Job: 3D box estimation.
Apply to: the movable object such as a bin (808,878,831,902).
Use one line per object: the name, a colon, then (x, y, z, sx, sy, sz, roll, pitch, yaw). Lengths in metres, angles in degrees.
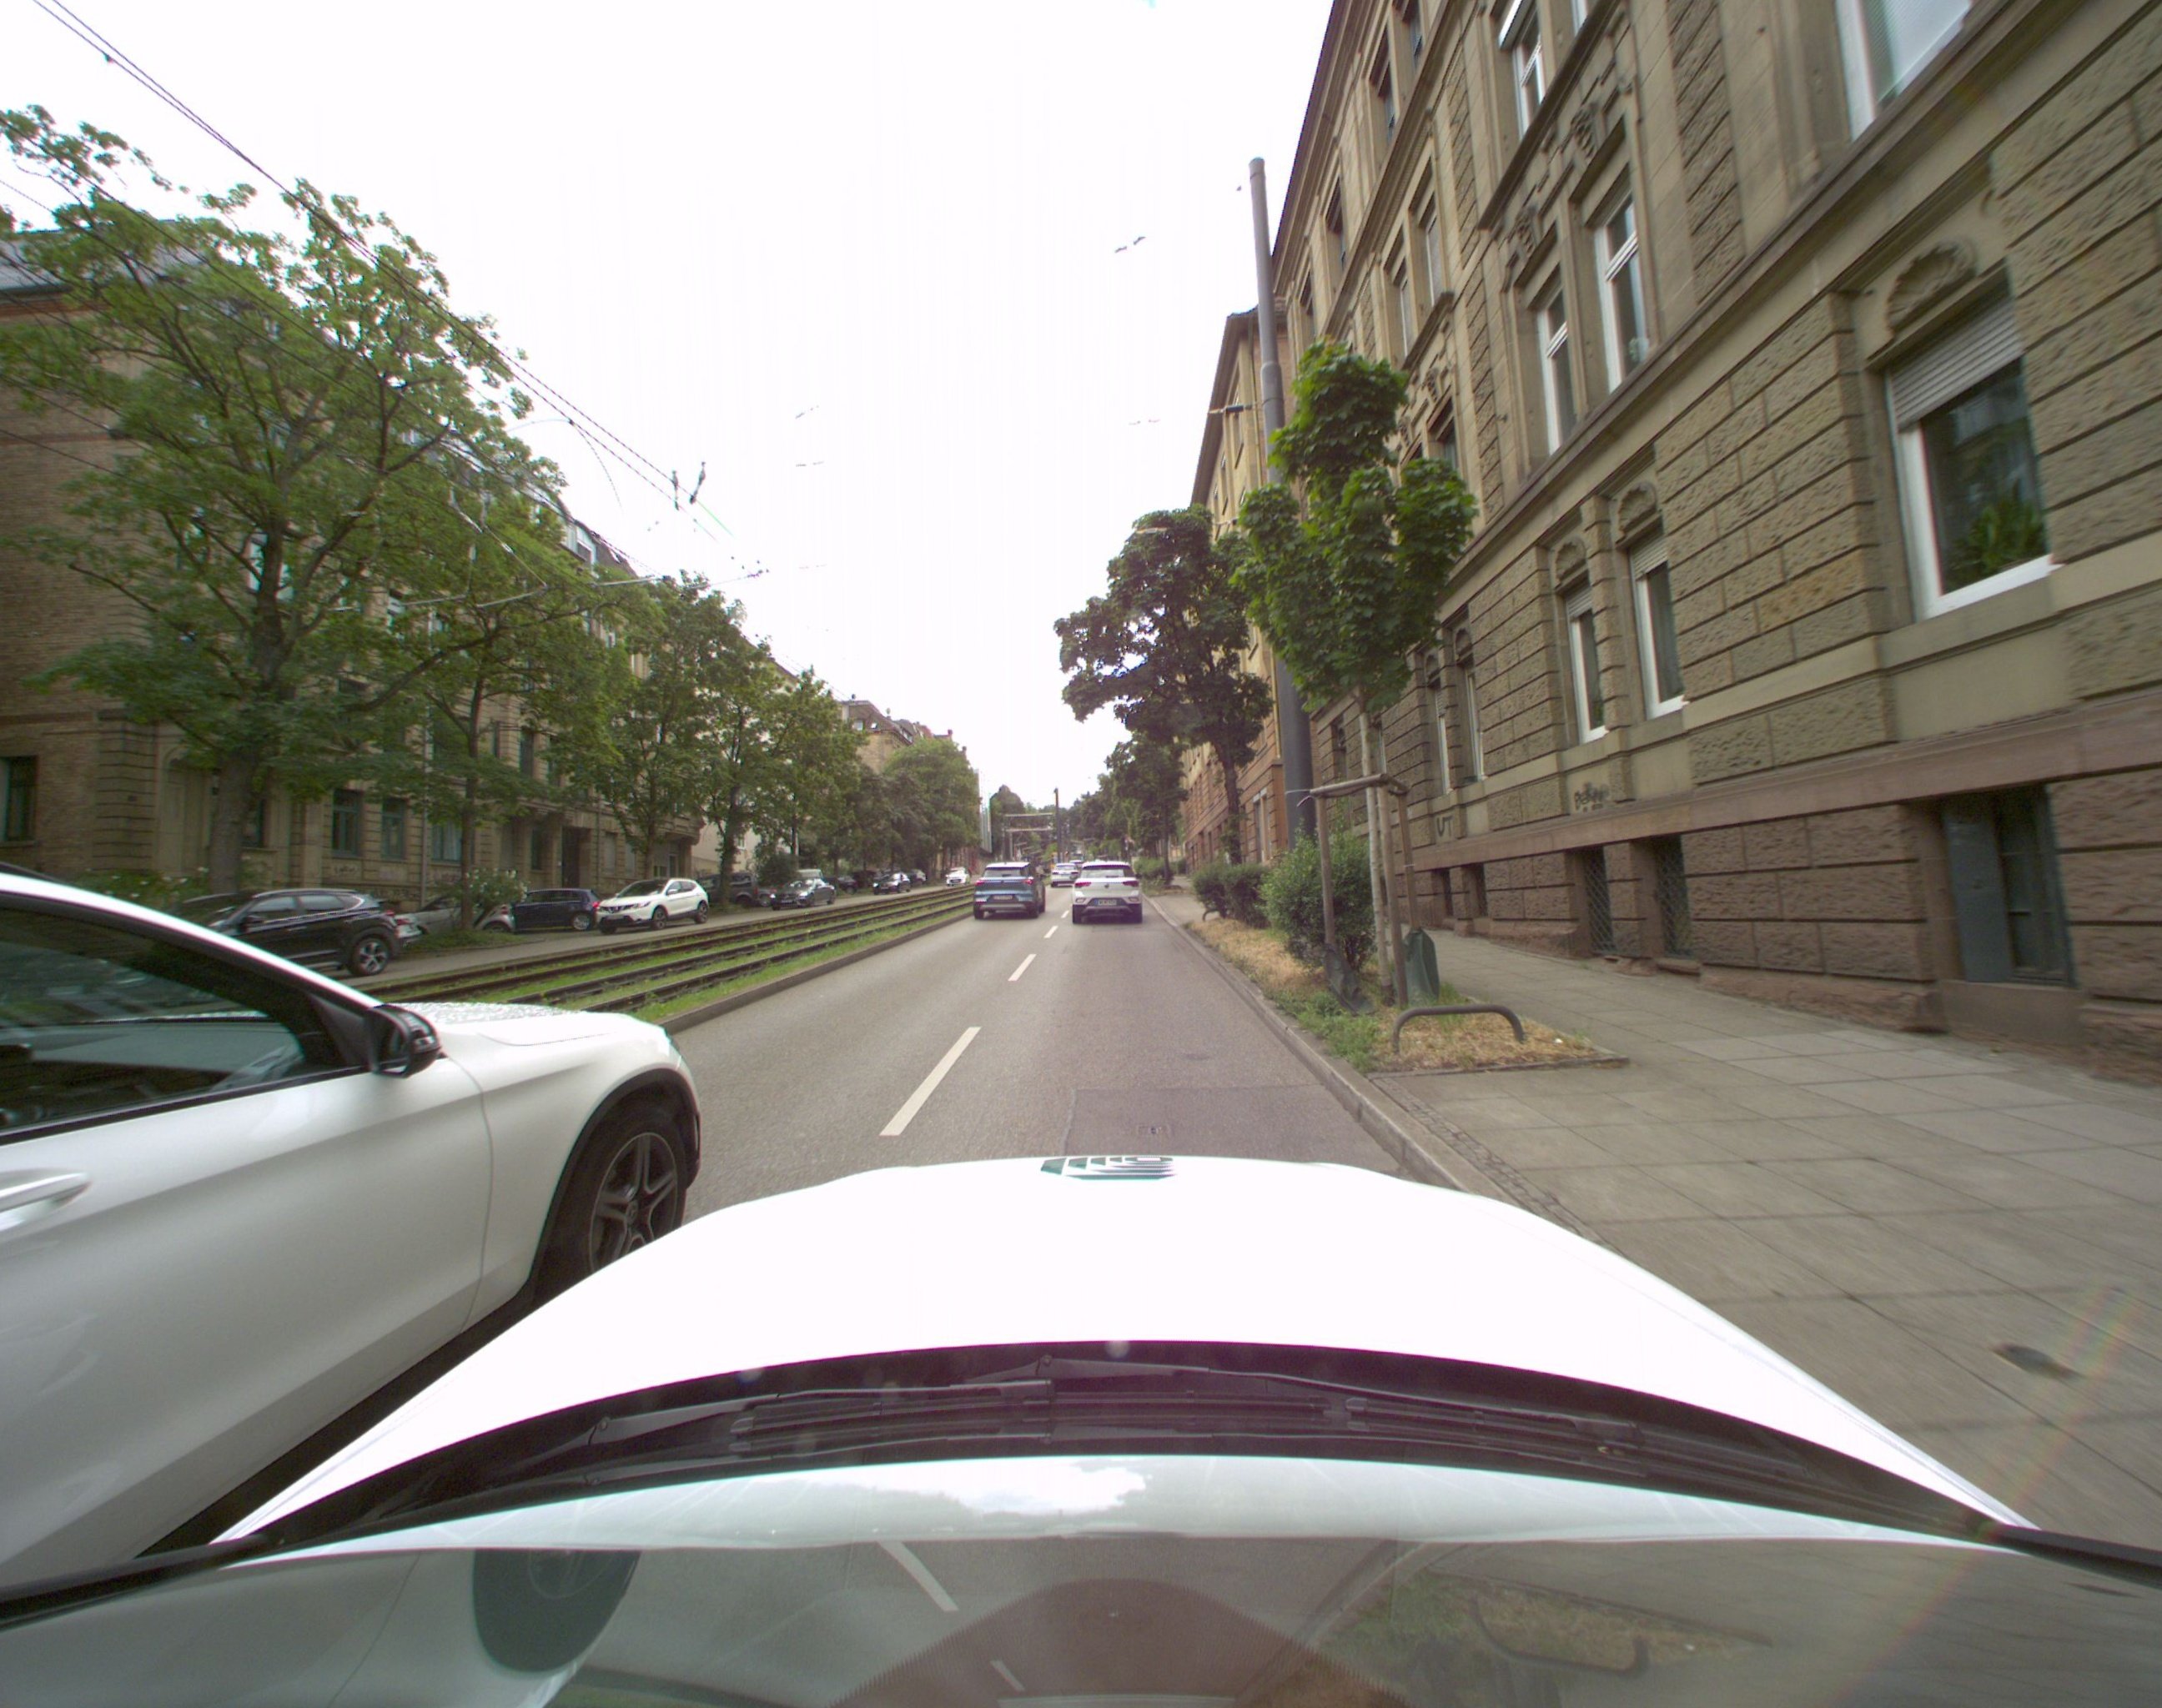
movable object such as a bin: (-16.041, 2.189, 49.975, 1.276, 1.401, 1.091, -1, -2, -14)

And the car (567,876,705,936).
car: (-13.938, 1.582, 25.828, 1.774, 1.616, 4.347, -4, -2, 2)

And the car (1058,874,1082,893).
car: (-0.893, 2.560, 70.831, 1.828, 1.547, 4.195, -1, -2, 2)

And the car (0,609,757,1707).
car: (-2.364, 0.522, 1.209, 1.829, 1.667, 4.670, -1, -2, 1)

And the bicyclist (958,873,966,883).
bicyclist: (-17.747, 3.613, 121.458, 0.935, 1.425, 1.188, -3, -2, 1)

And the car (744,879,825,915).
car: (-17.148, 2.473, 47.044, 4.199, 1.836, 1.856, -2, -2, -26)

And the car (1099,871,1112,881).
car: (4.005, 3.631, 134.024, 2.060, 1.547, 4.195, -1, -2, 2)

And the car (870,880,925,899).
car: (-16.827, 3.246, 74.782, 4.624, 1.617, 1.916, 0, -2, -33)

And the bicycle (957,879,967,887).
bicycle: (-17.694, 4.332, 121.391, 0.935, 1.100, 2.703, -3, -2, 2)

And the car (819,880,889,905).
car: (-16.714, 2.805, 59.949, 4.623, 1.682, 1.917, 0, -2, -32)

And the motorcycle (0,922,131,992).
motorcycle: (-17.621, 1.726, 13.580, 2.214, 1.059, 0.619, 0, -3, -33)

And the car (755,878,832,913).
car: (-13.330, 1.885, 38.076, 1.718, 1.410, 4.599, -4, -2, 2)

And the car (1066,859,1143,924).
car: (0.597, 0.964, 21.809, 1.829, 1.547, 4.193, -1, -2, 1)

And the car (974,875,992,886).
car: (-14.601, 3.949, 121.129, 1.985, 1.403, 4.002, -3, -2, 3)

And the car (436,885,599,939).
car: (-18.206, 1.845, 26.579, 4.205, 1.435, 1.853, -2, -2, -31)

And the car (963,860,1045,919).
car: (-2.164, 1.024, 23.916, 1.828, 1.547, 4.195, -1, -2, 2)

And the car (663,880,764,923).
car: (-17.385, 2.226, 38.515, 4.202, 1.768, 1.854, -2, -2, -29)

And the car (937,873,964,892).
car: (-10.924, 2.368, 68.573, 1.582, 1.435, 3.412, -4, -2, 1)

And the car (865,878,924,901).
car: (-15.942, 3.030, 69.735, 1.912, 1.797, 4.634, -3, -3, 45)

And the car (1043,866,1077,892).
car: (-1.252, 1.544, 50.569, 1.828, 1.547, 4.195, -1, -2, 2)

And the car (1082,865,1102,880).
car: (1.265, 2.079, 90.819, 2.060, 1.547, 4.195, -1, -2, 2)

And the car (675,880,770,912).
car: (-18.005, 2.080, 40.918, 4.202, 1.339, 1.854, -2, -2, -29)

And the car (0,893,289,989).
car: (-18.025, 1.600, 15.303, 4.168, 1.470, 1.768, -2, -3, -31)

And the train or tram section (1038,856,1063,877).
train or tram section: (-5.100, 2.207, 139.326, 2.984, 3.349, 13.445, -3, -2, 3)

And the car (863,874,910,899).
car: (-12.988, 2.181, 54.581, 1.859, 1.435, 4.494, -5, -2, 1)

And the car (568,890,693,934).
car: (-17.808, 2.249, 32.354, 4.202, 1.435, 1.854, -2, -2, -29)

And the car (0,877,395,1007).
car: (-13.858, 1.257, 13.178, 1.774, 1.657, 4.244, -4, -2, 2)
